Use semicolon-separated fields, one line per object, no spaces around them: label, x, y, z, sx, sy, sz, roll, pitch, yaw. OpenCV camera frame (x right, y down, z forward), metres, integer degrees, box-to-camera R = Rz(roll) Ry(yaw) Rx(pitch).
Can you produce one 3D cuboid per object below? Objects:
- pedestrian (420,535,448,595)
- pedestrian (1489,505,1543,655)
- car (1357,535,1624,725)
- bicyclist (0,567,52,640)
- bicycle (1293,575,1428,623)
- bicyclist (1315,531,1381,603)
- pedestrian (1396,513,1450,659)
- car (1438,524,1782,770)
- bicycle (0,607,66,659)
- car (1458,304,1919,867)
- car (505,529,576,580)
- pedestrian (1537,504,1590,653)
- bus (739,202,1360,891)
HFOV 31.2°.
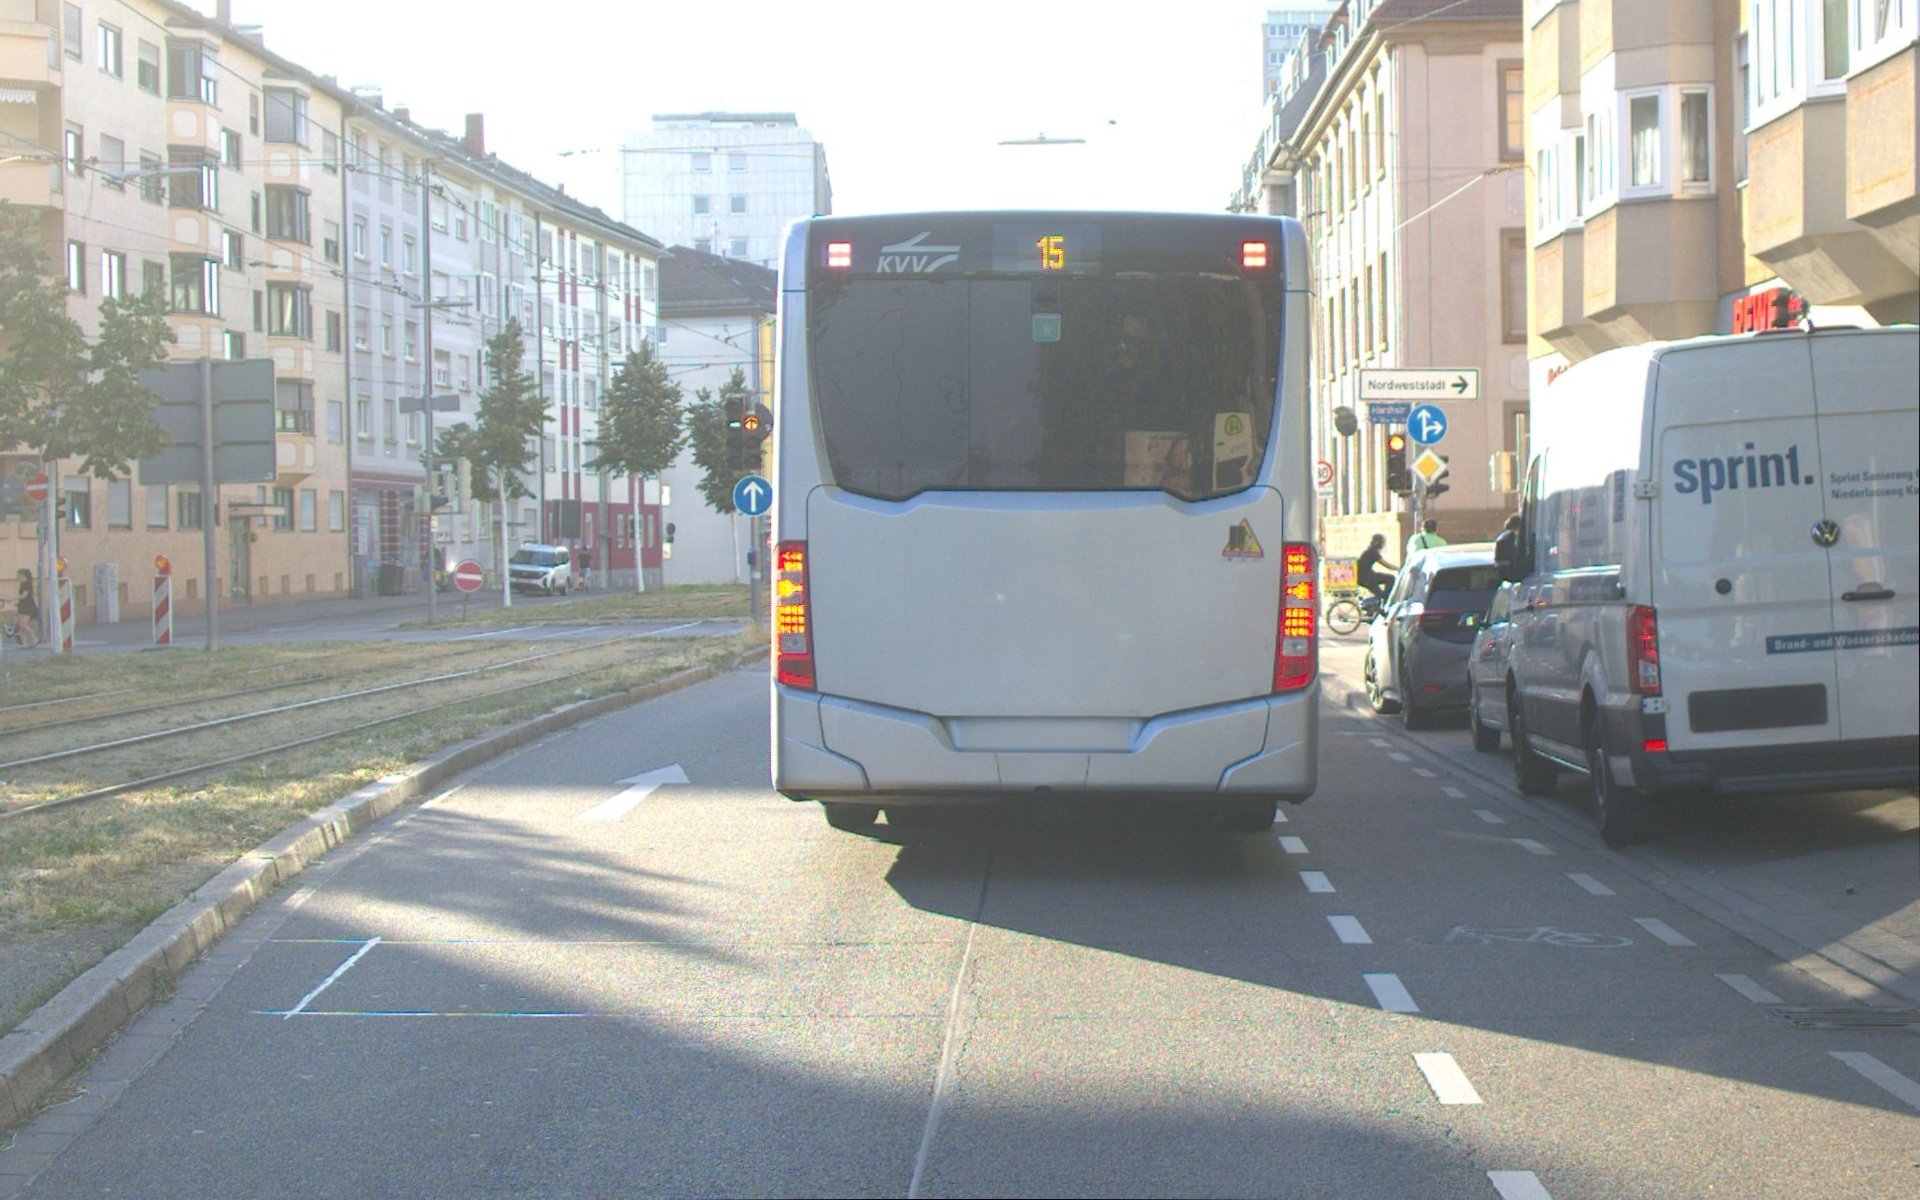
pedestrian;-17.812;-1.185;116.355;0.786;2.007;0.891;-1;1;-1
pedestrian;6.650;-0.244;41.130;0.547;1.778;0.449;-1;1;2
car;4.616;0.215;30.465;1.838;1.531;4.229;-1;1;2
bicyclist;-18.829;0.060;69.164;0.528;1.442;0.963;-1;1;33
bicycle;6.608;-0.023;56.746;2.062;0.730;0.763;-1;1;-9
bicyclist;6.394;-0.550;56.705;0.932;1.157;0.644;-1;1;-9
pedestrian;5.697;-0.174;42.314;0.547;1.778;0.449;-1;1;-3
car;4.529;0.279;24.465;1.838;1.582;3.785;-1;1;2
bicycle;-18.886;0.659;69.134;0.528;0.980;1.879;-1;1;33
car;4.182;-0.128;19.060;2.017;2.542;5.784;-4;1;2
car;-15.243;-1.651;125.055;1.812;1.791;4.245;-1;1;3
pedestrian;7.276;-0.262;41.456;0.547;1.778;0.449;1;0;2
bus;0.553;-0.315;19.767;2.739;3.045;8.853;1;1;2
